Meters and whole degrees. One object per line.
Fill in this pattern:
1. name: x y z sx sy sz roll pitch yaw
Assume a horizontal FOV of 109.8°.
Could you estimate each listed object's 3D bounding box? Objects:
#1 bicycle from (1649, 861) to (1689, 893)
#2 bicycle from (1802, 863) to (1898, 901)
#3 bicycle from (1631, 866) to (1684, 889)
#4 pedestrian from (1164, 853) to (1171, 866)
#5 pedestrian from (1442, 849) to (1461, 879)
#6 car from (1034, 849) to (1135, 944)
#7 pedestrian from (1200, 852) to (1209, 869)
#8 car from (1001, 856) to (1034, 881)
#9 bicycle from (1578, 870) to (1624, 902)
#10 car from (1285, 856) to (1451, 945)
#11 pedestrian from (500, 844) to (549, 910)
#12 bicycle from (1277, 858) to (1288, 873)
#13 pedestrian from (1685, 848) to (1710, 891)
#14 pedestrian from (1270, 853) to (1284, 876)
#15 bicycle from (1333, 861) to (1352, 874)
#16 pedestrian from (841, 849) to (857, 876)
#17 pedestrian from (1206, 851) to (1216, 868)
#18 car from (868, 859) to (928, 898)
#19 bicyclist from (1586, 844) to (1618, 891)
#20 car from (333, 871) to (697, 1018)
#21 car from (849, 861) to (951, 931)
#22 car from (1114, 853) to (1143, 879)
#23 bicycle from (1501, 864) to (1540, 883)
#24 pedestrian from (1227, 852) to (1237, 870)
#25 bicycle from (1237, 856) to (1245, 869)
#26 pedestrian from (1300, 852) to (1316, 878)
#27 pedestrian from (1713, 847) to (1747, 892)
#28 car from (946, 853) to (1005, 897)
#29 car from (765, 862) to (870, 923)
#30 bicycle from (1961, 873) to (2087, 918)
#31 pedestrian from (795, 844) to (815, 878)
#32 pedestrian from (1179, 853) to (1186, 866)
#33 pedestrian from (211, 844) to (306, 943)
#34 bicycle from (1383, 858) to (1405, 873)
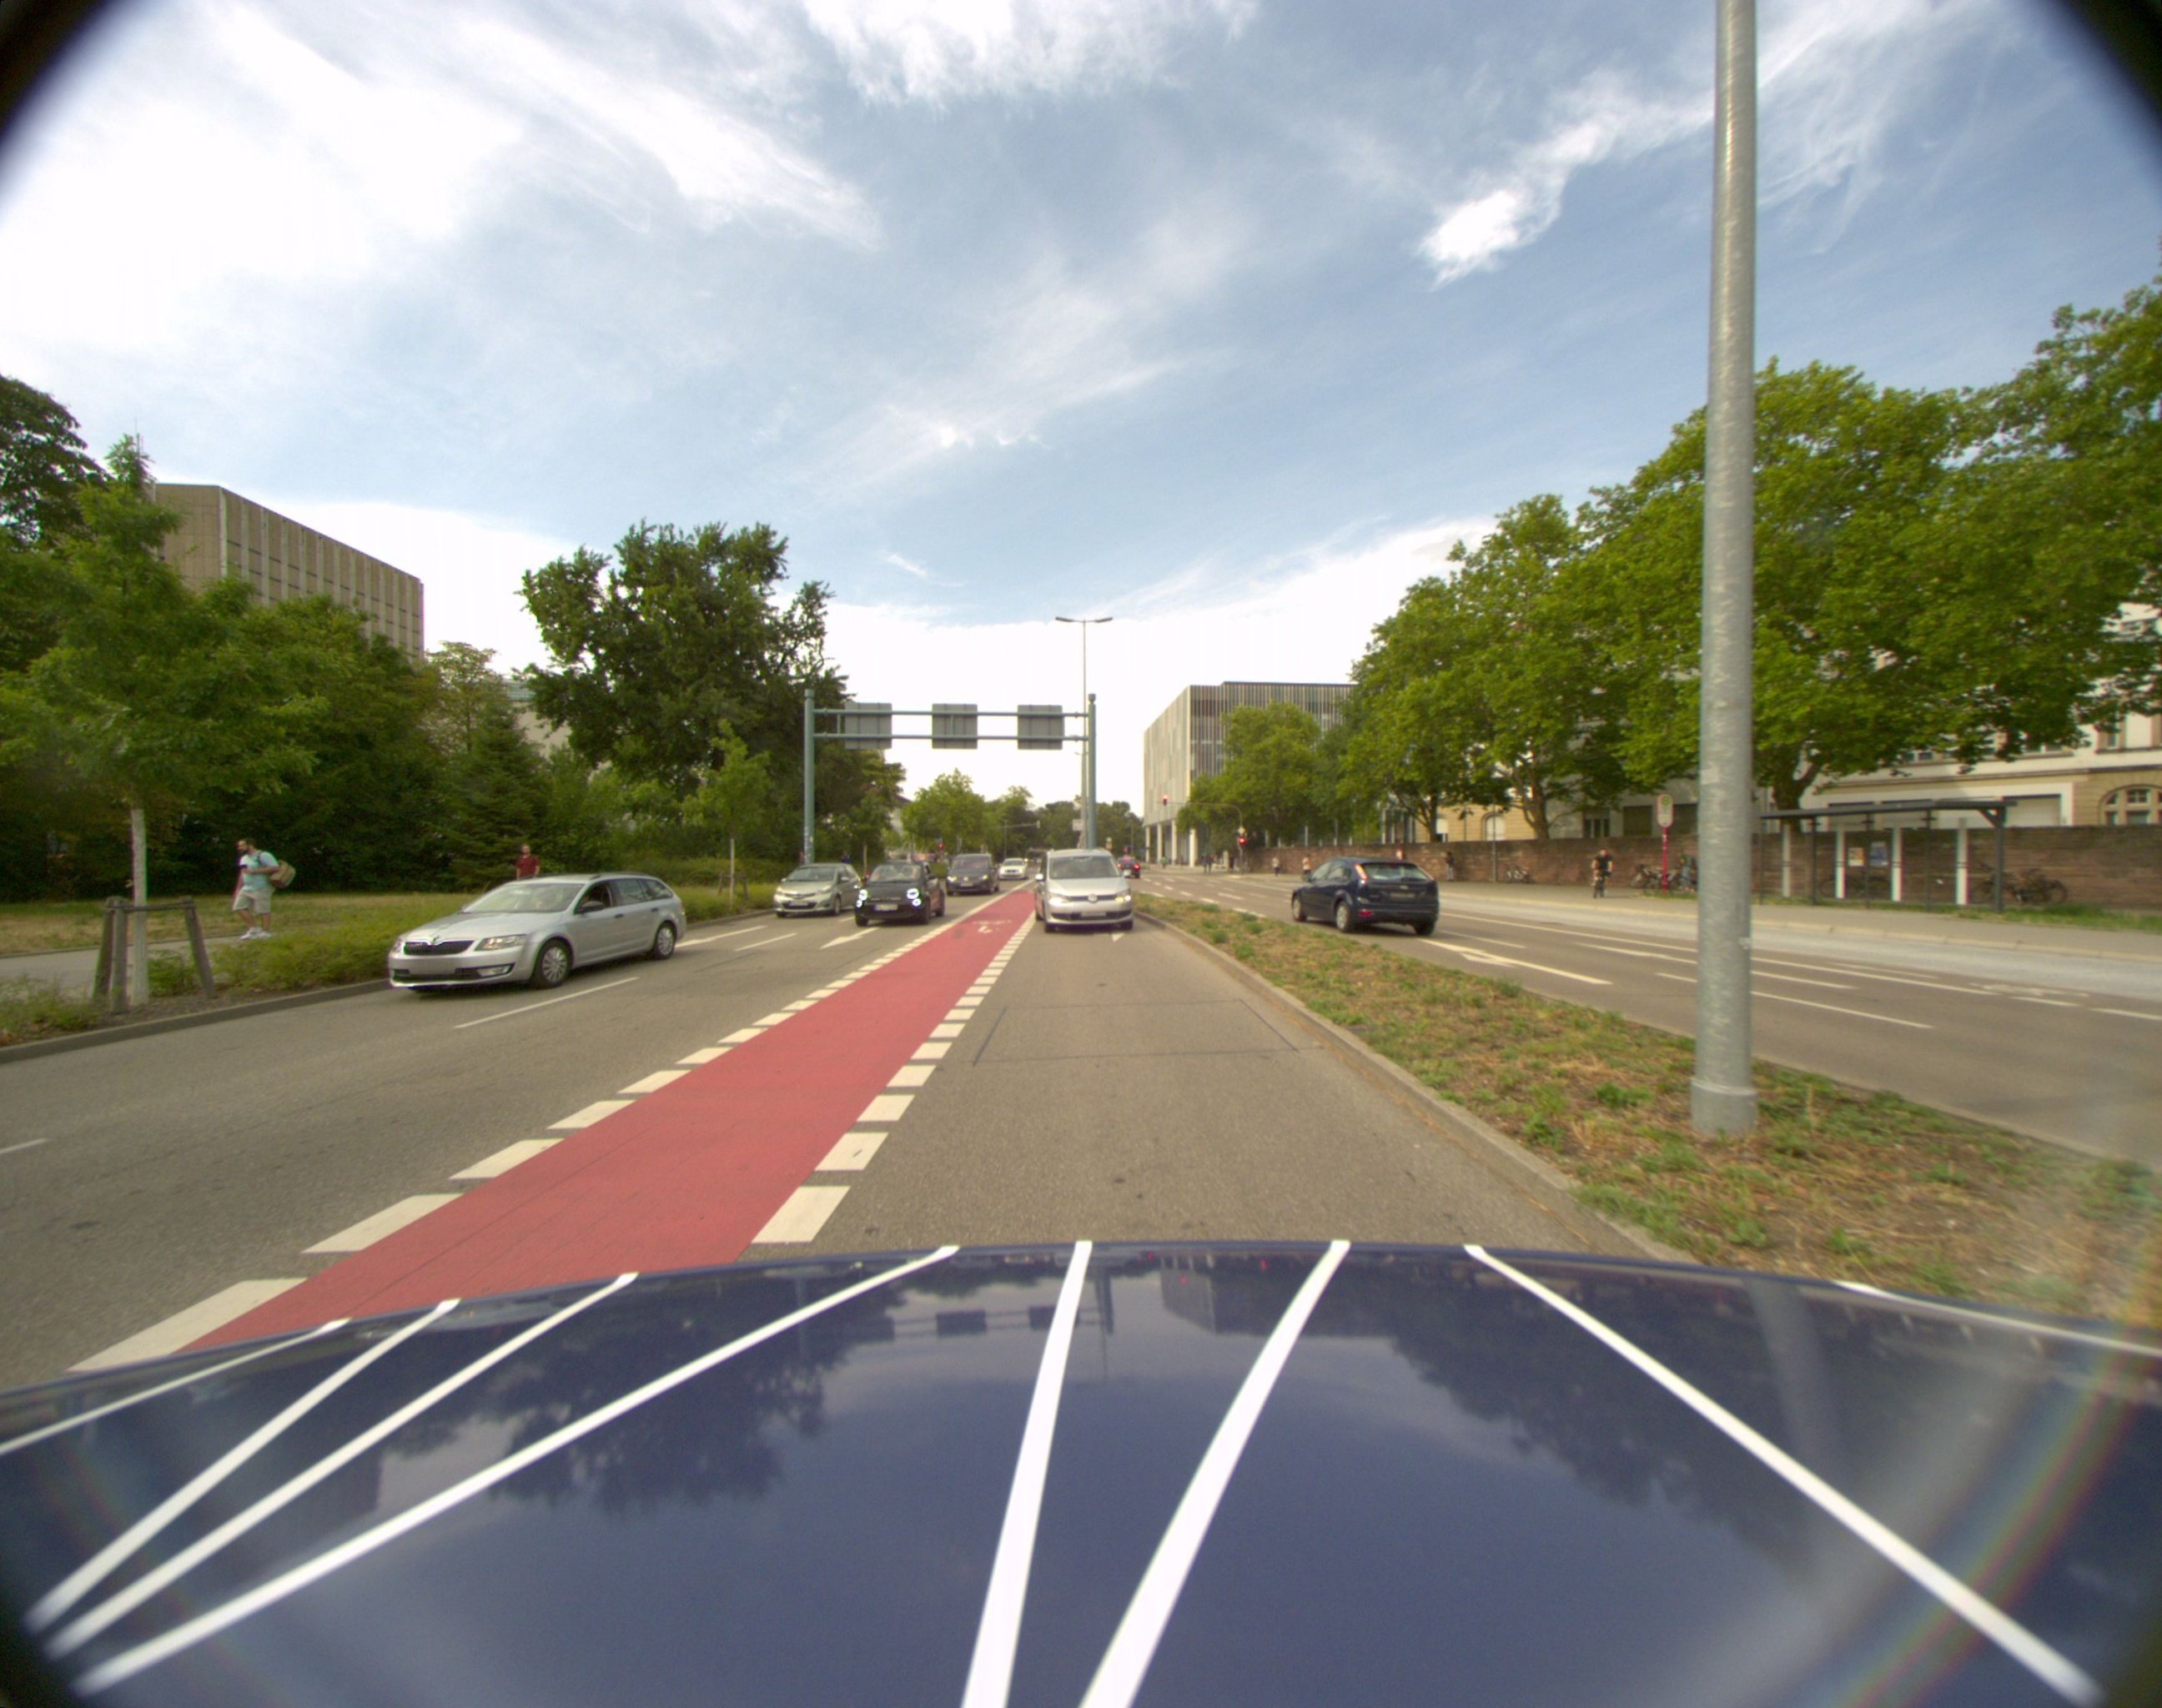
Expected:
1. bicycle: 22.689 0.913 29.296 2.103 1.182 0.756 2 -1 -39
2. bicycle: 25.384 0.899 25.136 0.759 1.182 2.095 2 -1 -22
3. bicycle: 23.378 0.937 30.823 0.662 0.882 1.573 -4 1 -20
4. pedestrian: 11.421 0.742 100.755 0.755 1.612 0.665 -2 1 -6
5. pedestrian: 20.245 0.561 41.502 0.756 1.612 0.664 -3 2 -41
6. car: -0.061 0.779 16.587 1.824 1.724 4.526 -2 1 -4
7. pedestrian: 12.215 0.609 75.210 0.755 1.612 0.665 -2 1 -6
8. car: -4.148 0.928 50.275 1.759 1.450 4.223 -2 1 0
9. bicycle: 17.717 1.059 25.931 0.505 0.930 1.972 0 2 9
10. car: 5.650 0.835 15.575 1.789 1.481 4.129 2 1 0
11. pedestrian: -14.840 0.593 20.265 0.714 1.701 0.695 -2 1 0
12. bicycle: 16.668 0.928 62.755 0.513 1.202 1.395 -2 1 0
13. pedestrian: 23.626 0.570 29.117 0.569 1.612 0.484 -3 1 -22
14. pedestrian: 14.218 0.736 55.240 0.755 1.612 0.665 -2 1 -6
15. bicycle: 18.145 0.925 52.729 0.433 0.882 1.574 -4 1 -11
16. pedestrian: -14.798 0.558 48.452 0.714 1.701 0.695 -2 1 0
17. pedestrian: 12.949 0.521 75.572 0.755 1.612 0.665 -2 1 -6
18. car: -7.420 0.970 31.133 1.670 1.407 3.456 -2 1 -2
19. bicyclist: 17.710 0.454 25.830 0.579 1.547 0.798 0 3 9
20. car: -7.647 1.093 11.001 1.824 1.466 4.527 -2 1 0
21. car: -4.379 0.965 18.837 1.670 1.481 3.440 -1 1 0
22. car: 3.256 0.791 52.842 1.759 1.615 3.867 -2 1 0
23. bicycle: 21.479 0.960 37.169 0.662 0.882 1.573 -4 1 -20
24. pedestrian: 14.044 0.655 70.587 0.755 1.612 0.665 -2 1 -6
25. bicycle: 15.586 0.825 73.970 0.513 1.202 1.395 -2 1 0
26. pedestrian: 14.630 0.723 48.924 0.755 1.612 0.665 -2 1 -6
27. pedestrian: 24.146 0.570 28.268 0.569 1.612 0.753 -3 1 -22
28. car: -4.360 0.818 31.967 1.759 1.641 4.685 -2 1 0
29. car: -7.577 1.050 22.270 1.670 1.481 3.875 -2 1 0
30. bicycle: 26.659 1.155 21.534 0.759 1.182 2.095 2 -1 -22
31. pedestrian: -14.484 0.359 39.825 0.714 1.701 0.695 -2 1 0
32. pedestrian: 12.989 0.650 97.035 0.755 1.612 0.665 -2 1 -6
33. pedestrian: -14.800 0.694 13.691 0.842 1.701 0.694 -2 1 -4
34. bicycle: 19.294 0.732 46.921 0.433 0.882 1.574 -4 1 -11
